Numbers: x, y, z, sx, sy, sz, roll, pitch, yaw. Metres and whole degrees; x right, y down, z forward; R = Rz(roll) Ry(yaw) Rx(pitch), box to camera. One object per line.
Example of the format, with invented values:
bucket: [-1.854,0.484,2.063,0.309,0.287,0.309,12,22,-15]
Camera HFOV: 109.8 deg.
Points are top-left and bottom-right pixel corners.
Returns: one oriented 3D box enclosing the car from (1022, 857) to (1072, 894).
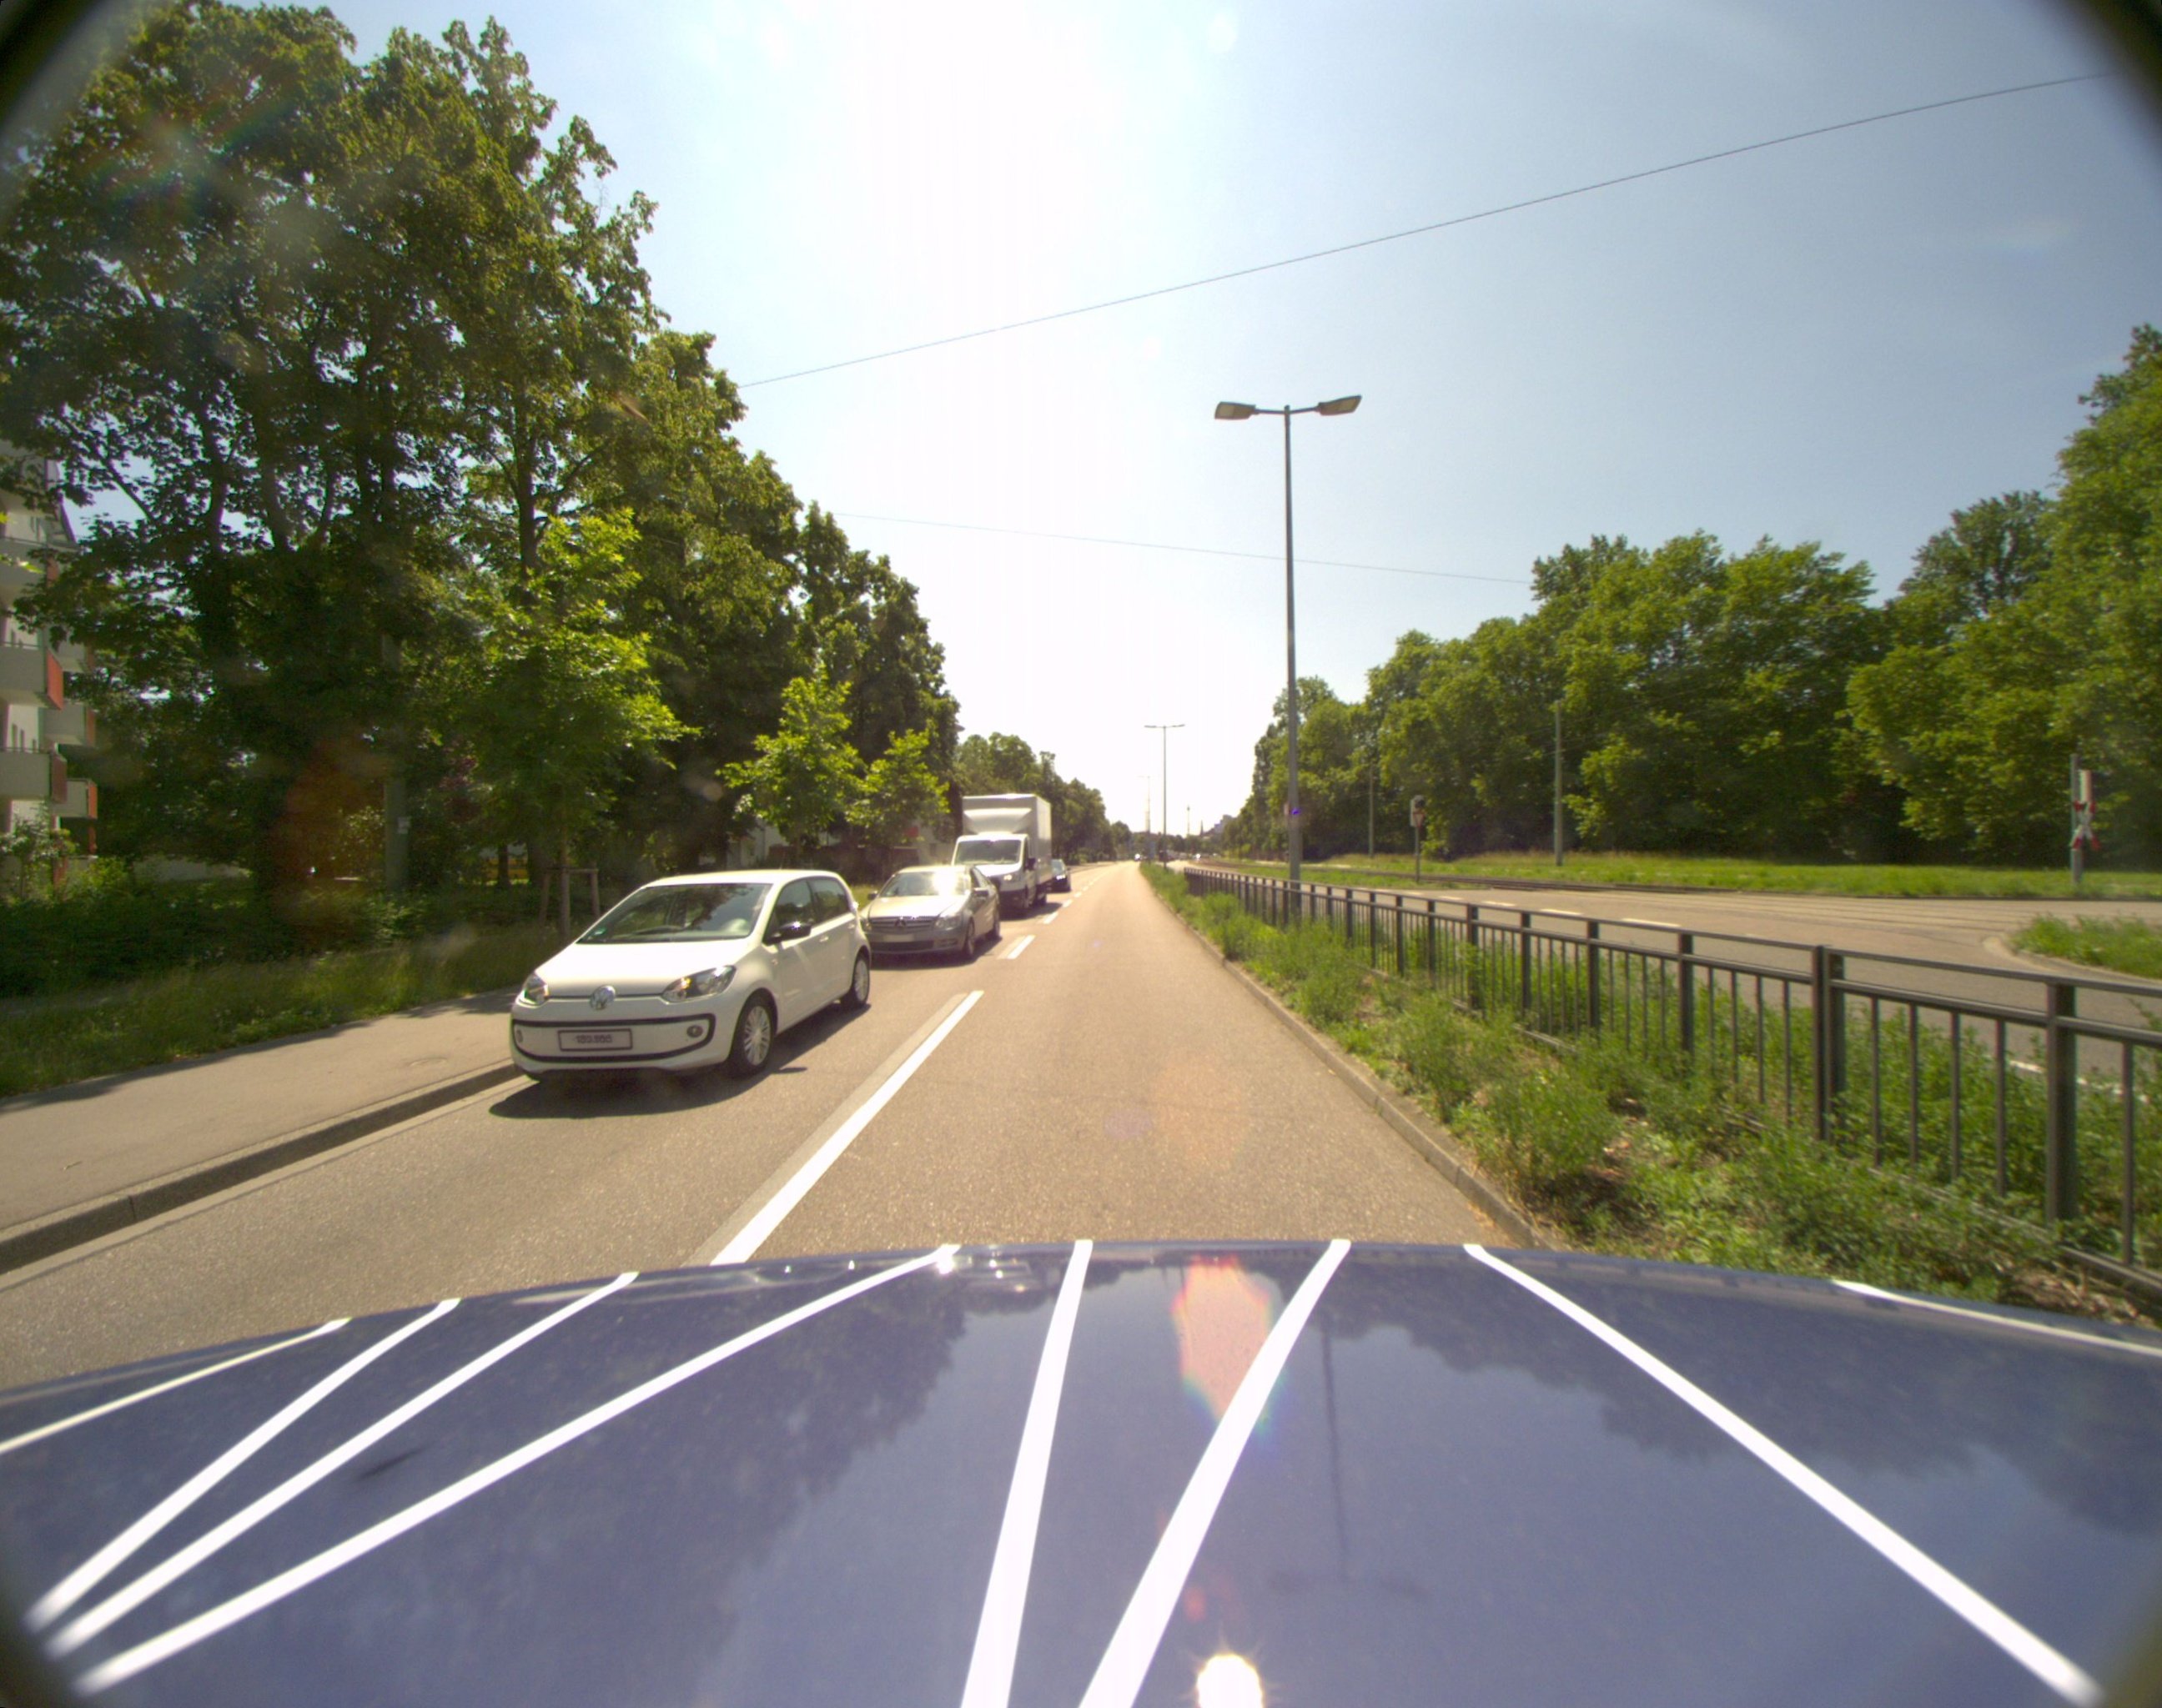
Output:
car: [-1.452,0.907,34.070,1.998,1.499,4.000,-1,0,1]

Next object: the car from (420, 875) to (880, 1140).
car: [-3.122,0.991,6.511,1.730,1.470,3.771,-1,0,1]

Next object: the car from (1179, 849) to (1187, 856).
car: [26.938,-0.422,200.763,1.998,1.847,4.001,-1,0,5]

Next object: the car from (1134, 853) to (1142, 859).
car: [14.281,0.576,189.981,1.997,1.499,4.002,-1,0,7]

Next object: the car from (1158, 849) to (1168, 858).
car: [16.591,-0.136,153.801,1.997,1.847,4.002,-1,0,7]

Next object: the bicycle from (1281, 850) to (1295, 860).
bicycle: [24.278,0.098,89.135,0.862,1.155,2.787,-1,0,1]

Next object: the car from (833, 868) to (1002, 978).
car: [-2.470,0.989,12.532,1.840,1.400,4.087,-1,0,1]

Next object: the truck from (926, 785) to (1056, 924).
truck: [-2.294,-0.004,22.271,2.433,3.326,7.923,-1,0,3]

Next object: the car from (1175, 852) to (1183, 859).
car: [26.756,0.325,207.272,1.998,1.847,4.001,-1,0,5]

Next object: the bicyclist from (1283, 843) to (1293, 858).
bicyclist: [24.294,-0.385,89.073,0.862,1.796,1.118,-1,1,1]
